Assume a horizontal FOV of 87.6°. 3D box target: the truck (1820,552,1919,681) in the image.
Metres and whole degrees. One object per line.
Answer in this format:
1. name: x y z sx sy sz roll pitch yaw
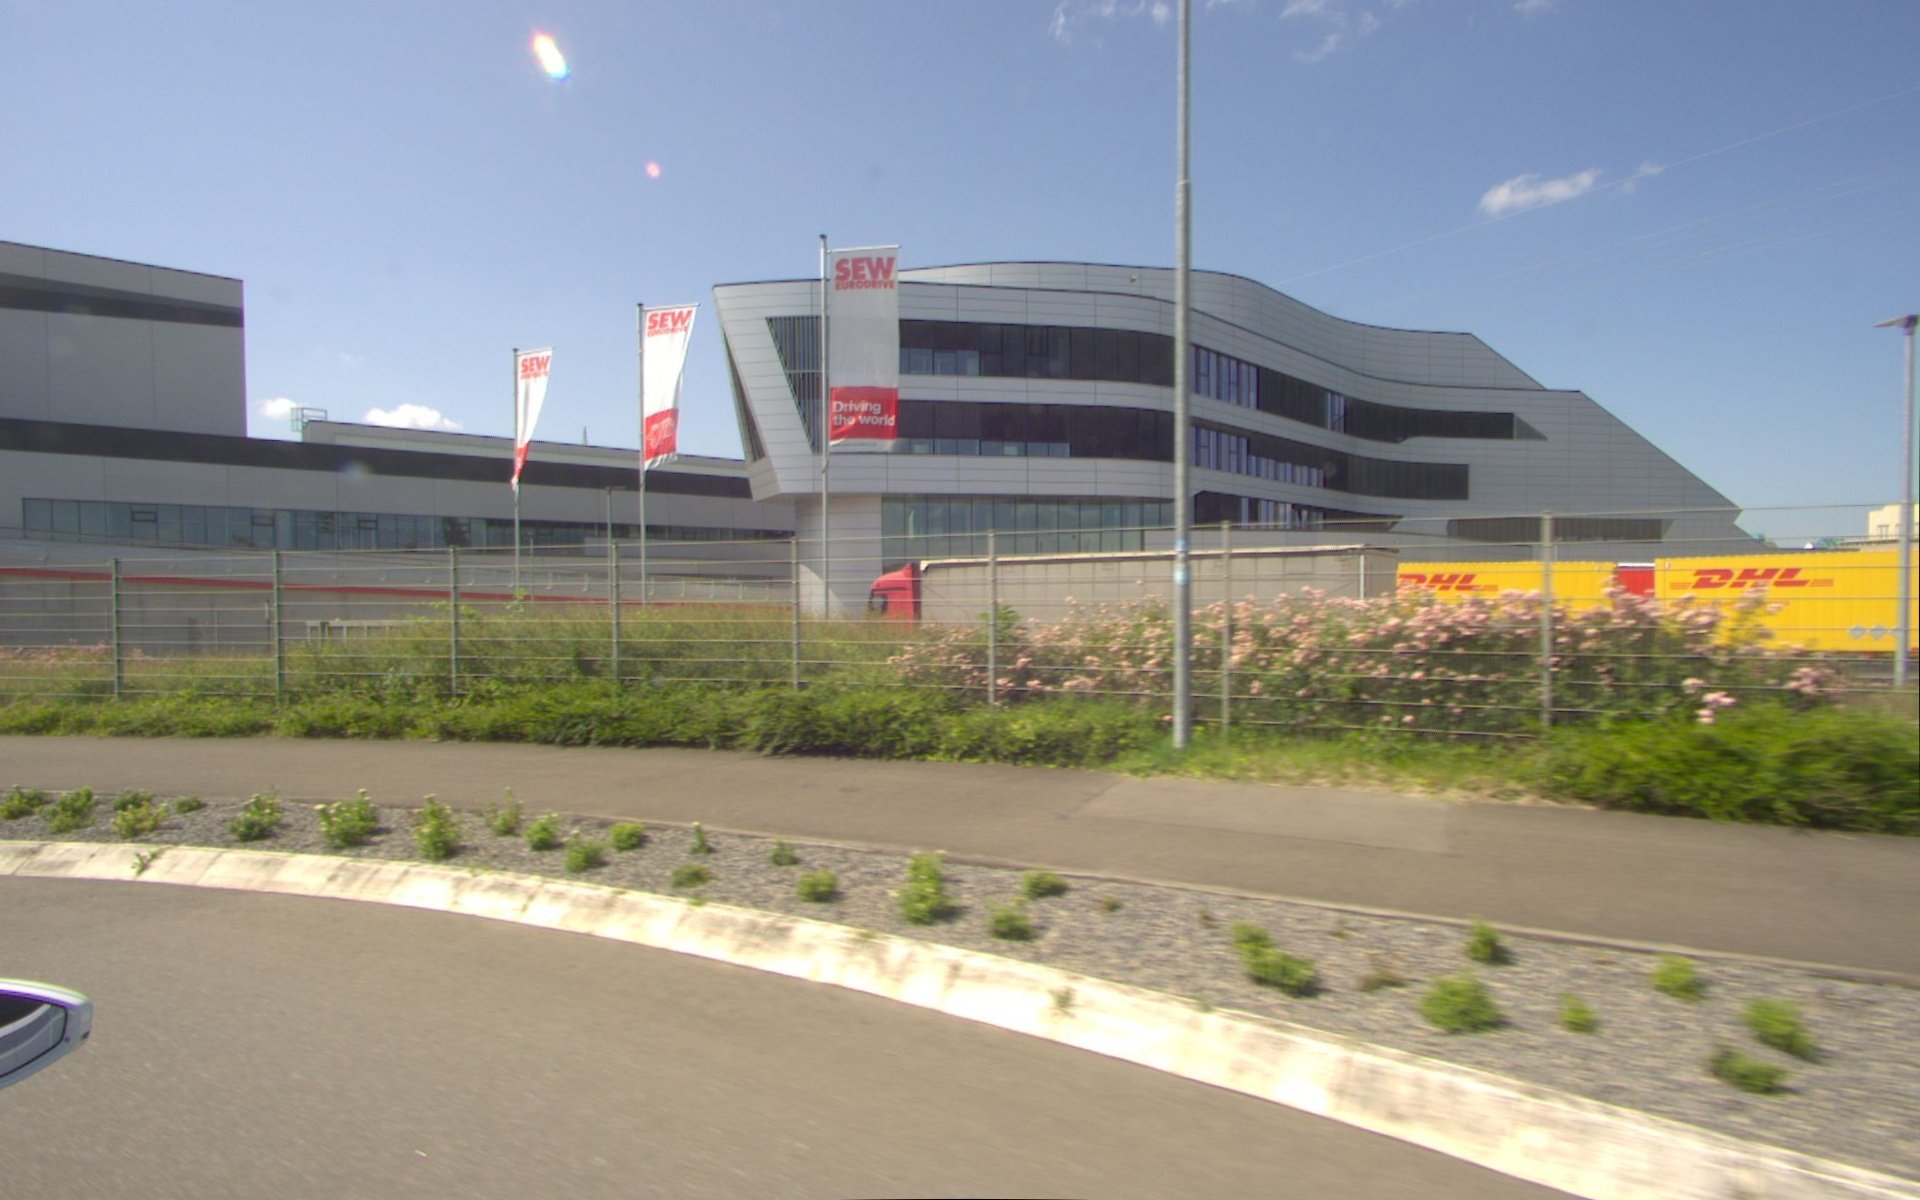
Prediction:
1. truck: 35.411 0.559 32.784 10.842 4.315 3.004 1 2 40

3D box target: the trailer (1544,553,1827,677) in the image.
1. trailer: 28.064 0.449 39.108 8.612 4.355 3.003 1 3 41

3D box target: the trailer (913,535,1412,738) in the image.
1. trailer: 4.734 0.697 27.651 13.892 4.499 2.744 1 3 40

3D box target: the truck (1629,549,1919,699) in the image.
1. truck: 26.816 0.626 30.125 10.844 4.230 2.799 1 3 41

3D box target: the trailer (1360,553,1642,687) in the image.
1. trailer: 19.353 0.565 36.212 8.602 4.355 2.881 1 2 37

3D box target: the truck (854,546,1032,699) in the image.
1. truck: -0.588 0.602 32.137 5.226 4.484 2.744 1 3 40
